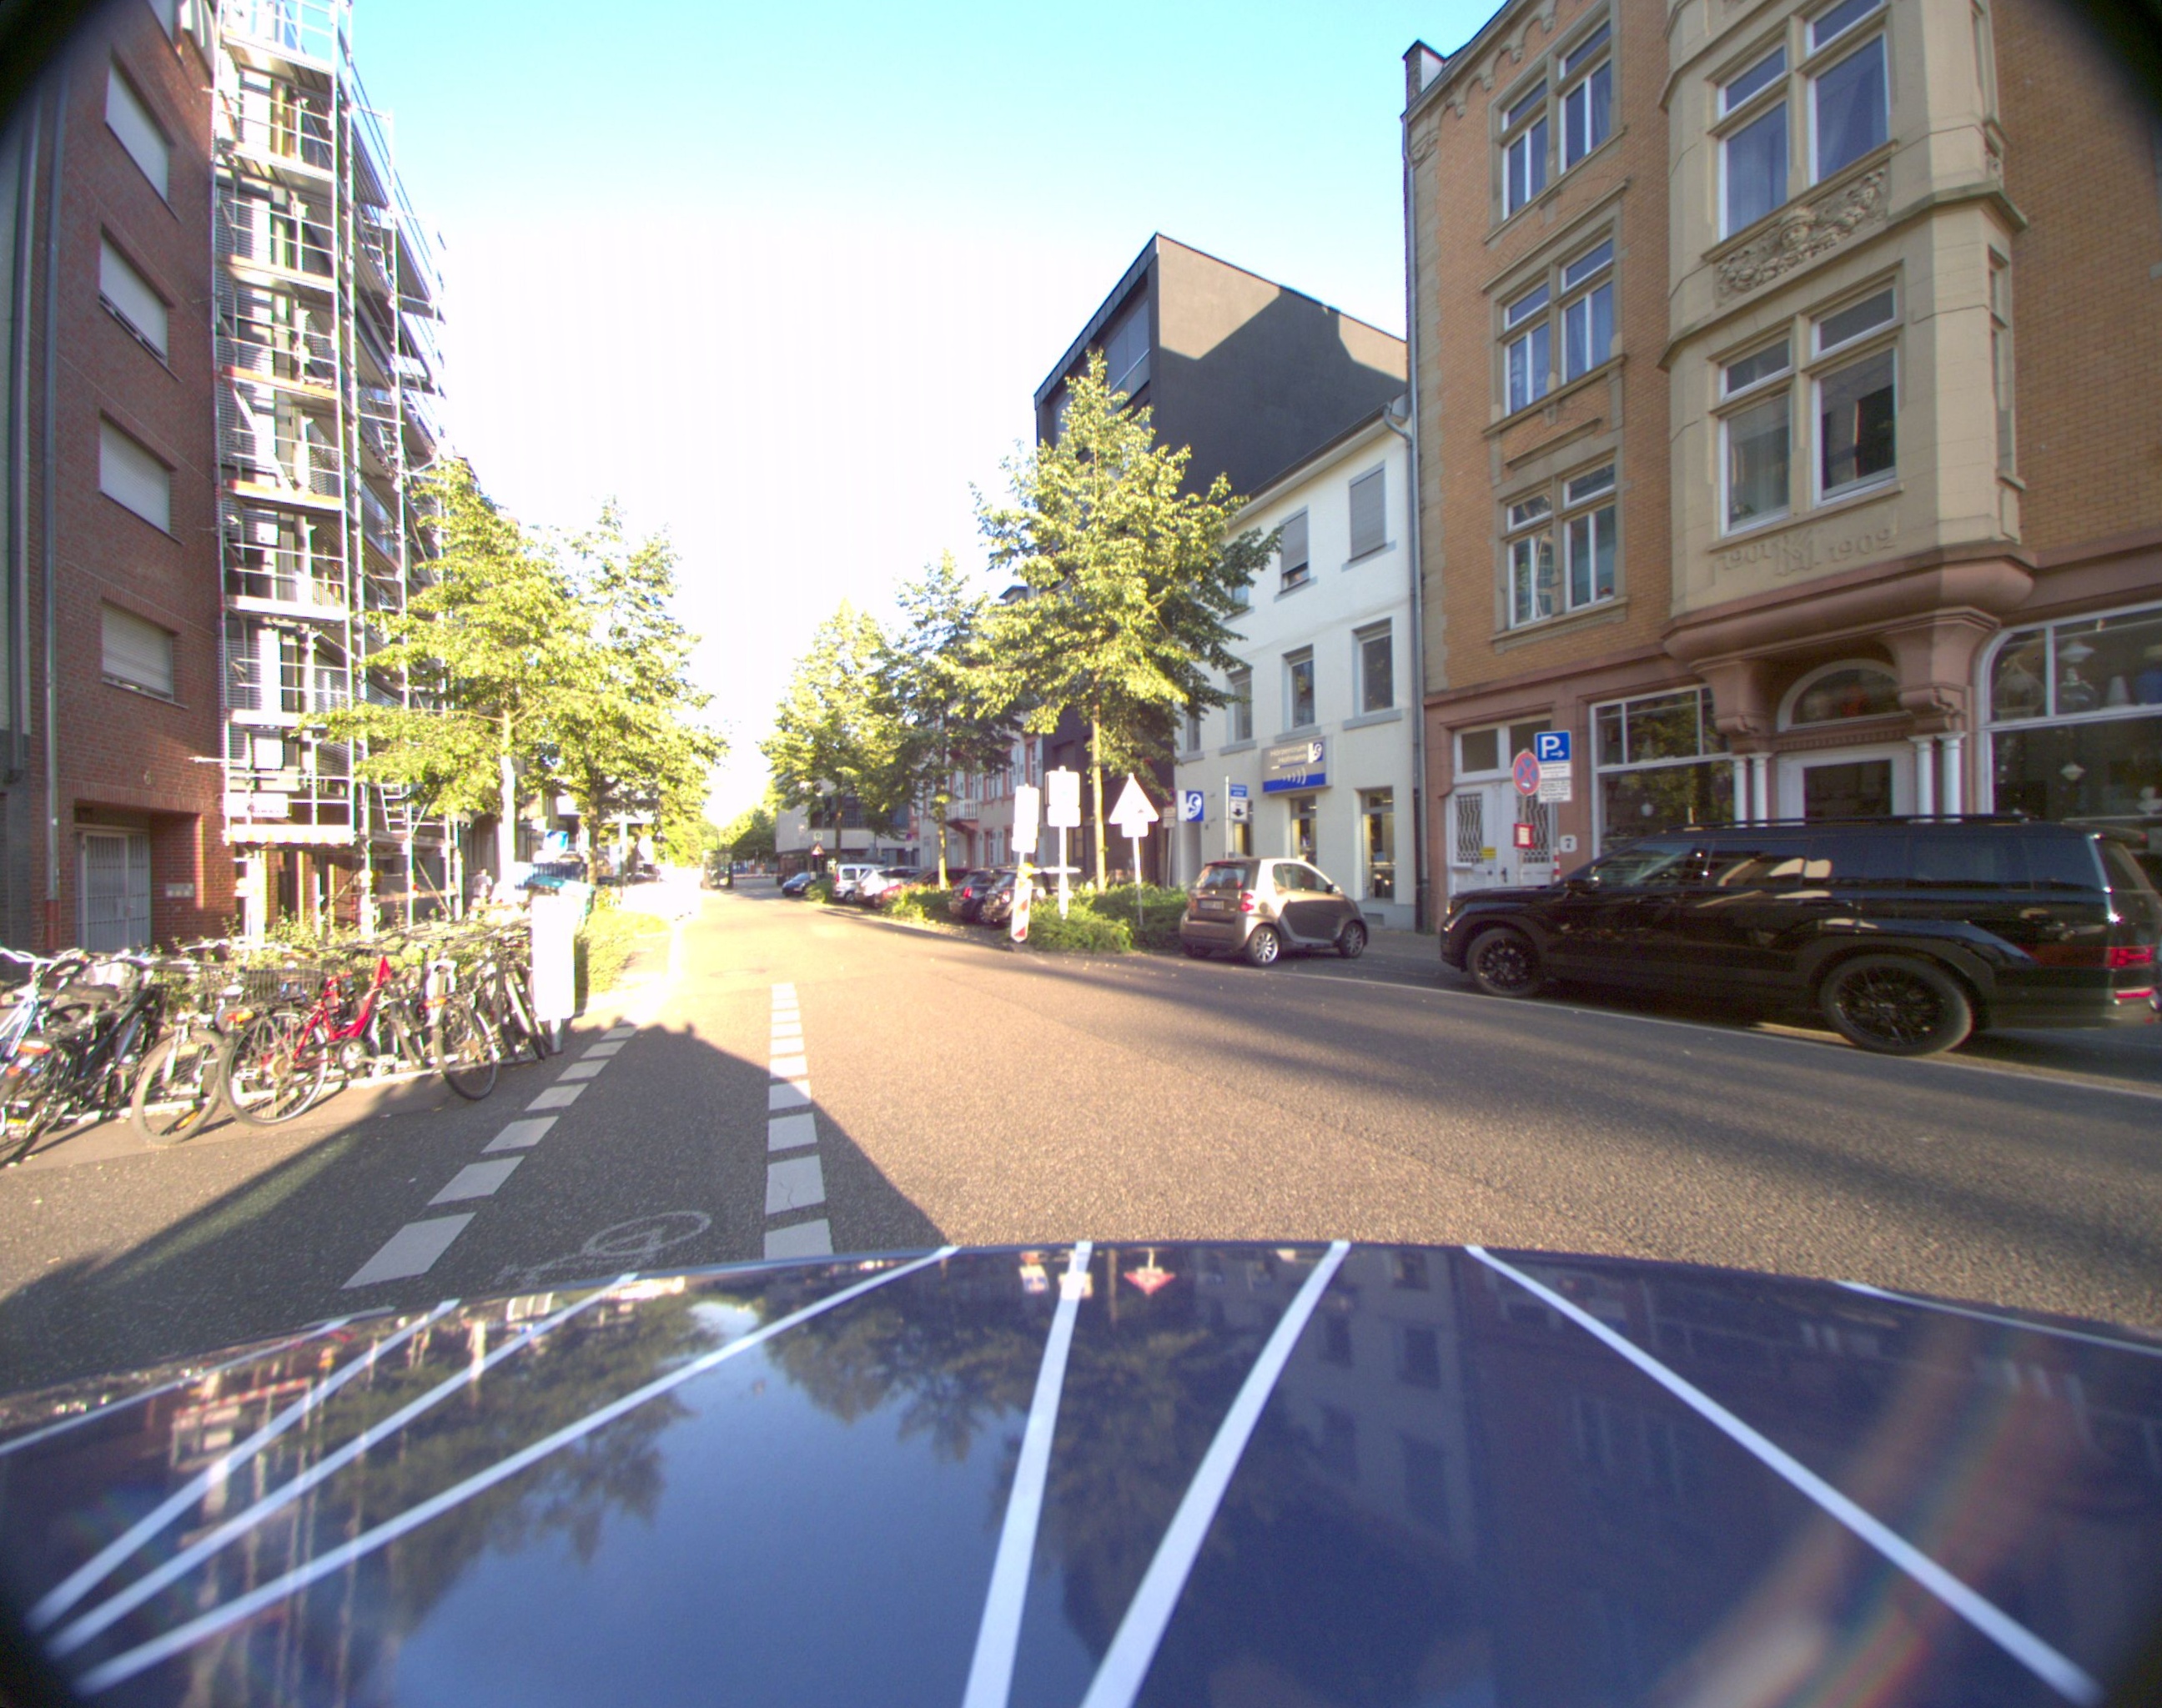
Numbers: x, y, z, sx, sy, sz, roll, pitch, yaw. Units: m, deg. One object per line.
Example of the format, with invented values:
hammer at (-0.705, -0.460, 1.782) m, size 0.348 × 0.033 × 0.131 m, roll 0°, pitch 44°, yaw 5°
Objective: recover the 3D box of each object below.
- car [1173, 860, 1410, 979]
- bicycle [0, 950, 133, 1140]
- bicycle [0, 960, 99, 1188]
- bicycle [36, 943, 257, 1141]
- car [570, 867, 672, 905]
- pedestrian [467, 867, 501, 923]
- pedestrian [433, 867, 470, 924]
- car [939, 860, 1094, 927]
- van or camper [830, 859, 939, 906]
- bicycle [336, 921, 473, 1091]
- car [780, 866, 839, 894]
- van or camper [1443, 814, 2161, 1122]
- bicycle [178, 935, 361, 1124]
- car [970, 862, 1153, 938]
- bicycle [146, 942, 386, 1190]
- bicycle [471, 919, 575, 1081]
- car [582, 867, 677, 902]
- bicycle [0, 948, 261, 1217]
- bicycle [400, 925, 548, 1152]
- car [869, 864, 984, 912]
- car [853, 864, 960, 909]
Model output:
car at (3.294, 0.895, 11.764) m, size 3.487 × 1.566 × 1.504 m, roll 0°, pitch 0°, yaw -30°
bicycle at (-7.597, 1.334, 5.412) m, size 0.459 × 1.125 × 1.549 m, roll -1°, pitch 0°, yaw -27°
bicycle at (-6.212, 1.272, 4.162) m, size 0.388 × 1.182 × 1.549 m, roll -1°, pitch 0°, yaw -27°
bicycle at (-6.997, 1.328, 5.786) m, size 0.469 × 1.137 × 1.549 m, roll -1°, pitch 0°, yaw -27°
car at (-21.914, 1.476, 36.367) m, size 4.005 × 1.674 × 1.887 m, roll 0°, pitch 0°, yaw -25°
pedestrian at (-19.524, 1.313, 24.860) m, size 0.745 × 1.773 × 0.655 m, roll -1°, pitch 0°, yaw -29°
pedestrian at (-20.130, 1.310, 24.306) m, size 0.744 × 1.773 × 0.655 m, roll -1°, pitch 0°, yaw -27°
car at (-1.727, 1.014, 20.453) m, size 3.703 × 1.660 × 1.854 m, roll 1°, pitch -1°, yaw -30°
van or camper at (-8.899, 1.263, 34.477) m, size 4.462 × 1.993 × 1.854 m, roll 1°, pitch -1°, yaw -30°
bicycle at (-5.706, 1.209, 6.491) m, size 0.489 × 1.156 × 1.549 m, roll -1°, pitch 0°, yaw -27°
car at (-15.983, 1.501, 44.931) m, size 1.856 × 1.558 × 3.699 m, roll 0°, pitch -1°, yaw 6°
van or camper at (5.887, 0.695, 6.798) m, size 1.899 × 1.797 × 4.449 m, roll 0°, pitch -1°, yaw -33°
bicycle at (-6.324, 1.288, 6.011) m, size 0.489 × 1.143 × 1.549 m, roll -1°, pitch 0°, yaw -27°
car at (-0.446, 1.055, 18.432) m, size 4.015 × 1.660 × 1.854 m, roll 1°, pitch -1°, yaw -30°
bicycle at (-5.053, 1.216, 4.829) m, size 0.419 × 1.150 × 1.549 m, roll -1°, pitch 0°, yaw -22°
bicycle at (-4.993, 1.238, 6.877) m, size 0.509 × 1.172 × 1.549 m, roll -1°, pitch 0°, yaw -27°
car at (-22.975, 1.531, 38.841) m, size 4.005 × 1.674 × 1.887 m, roll 0°, pitch 0°, yaw -25°
bicycle at (-5.527, 1.222, 4.508) m, size 0.382 × 1.153 × 1.549 m, roll -1°, pitch 0°, yaw -27°
bicycle at (-4.167, 1.171, 5.312) m, size 0.499 × 1.213 × 1.549 m, roll -1°, pitch 0°, yaw -27°
car at (-5.624, 1.203, 27.678) m, size 3.703 × 1.660 × 1.854 m, roll 1°, pitch -1°, yaw -30°
car at (-6.860, 1.246, 29.858) m, size 3.703 × 1.660 × 1.854 m, roll 1°, pitch -1°, yaw -30°
